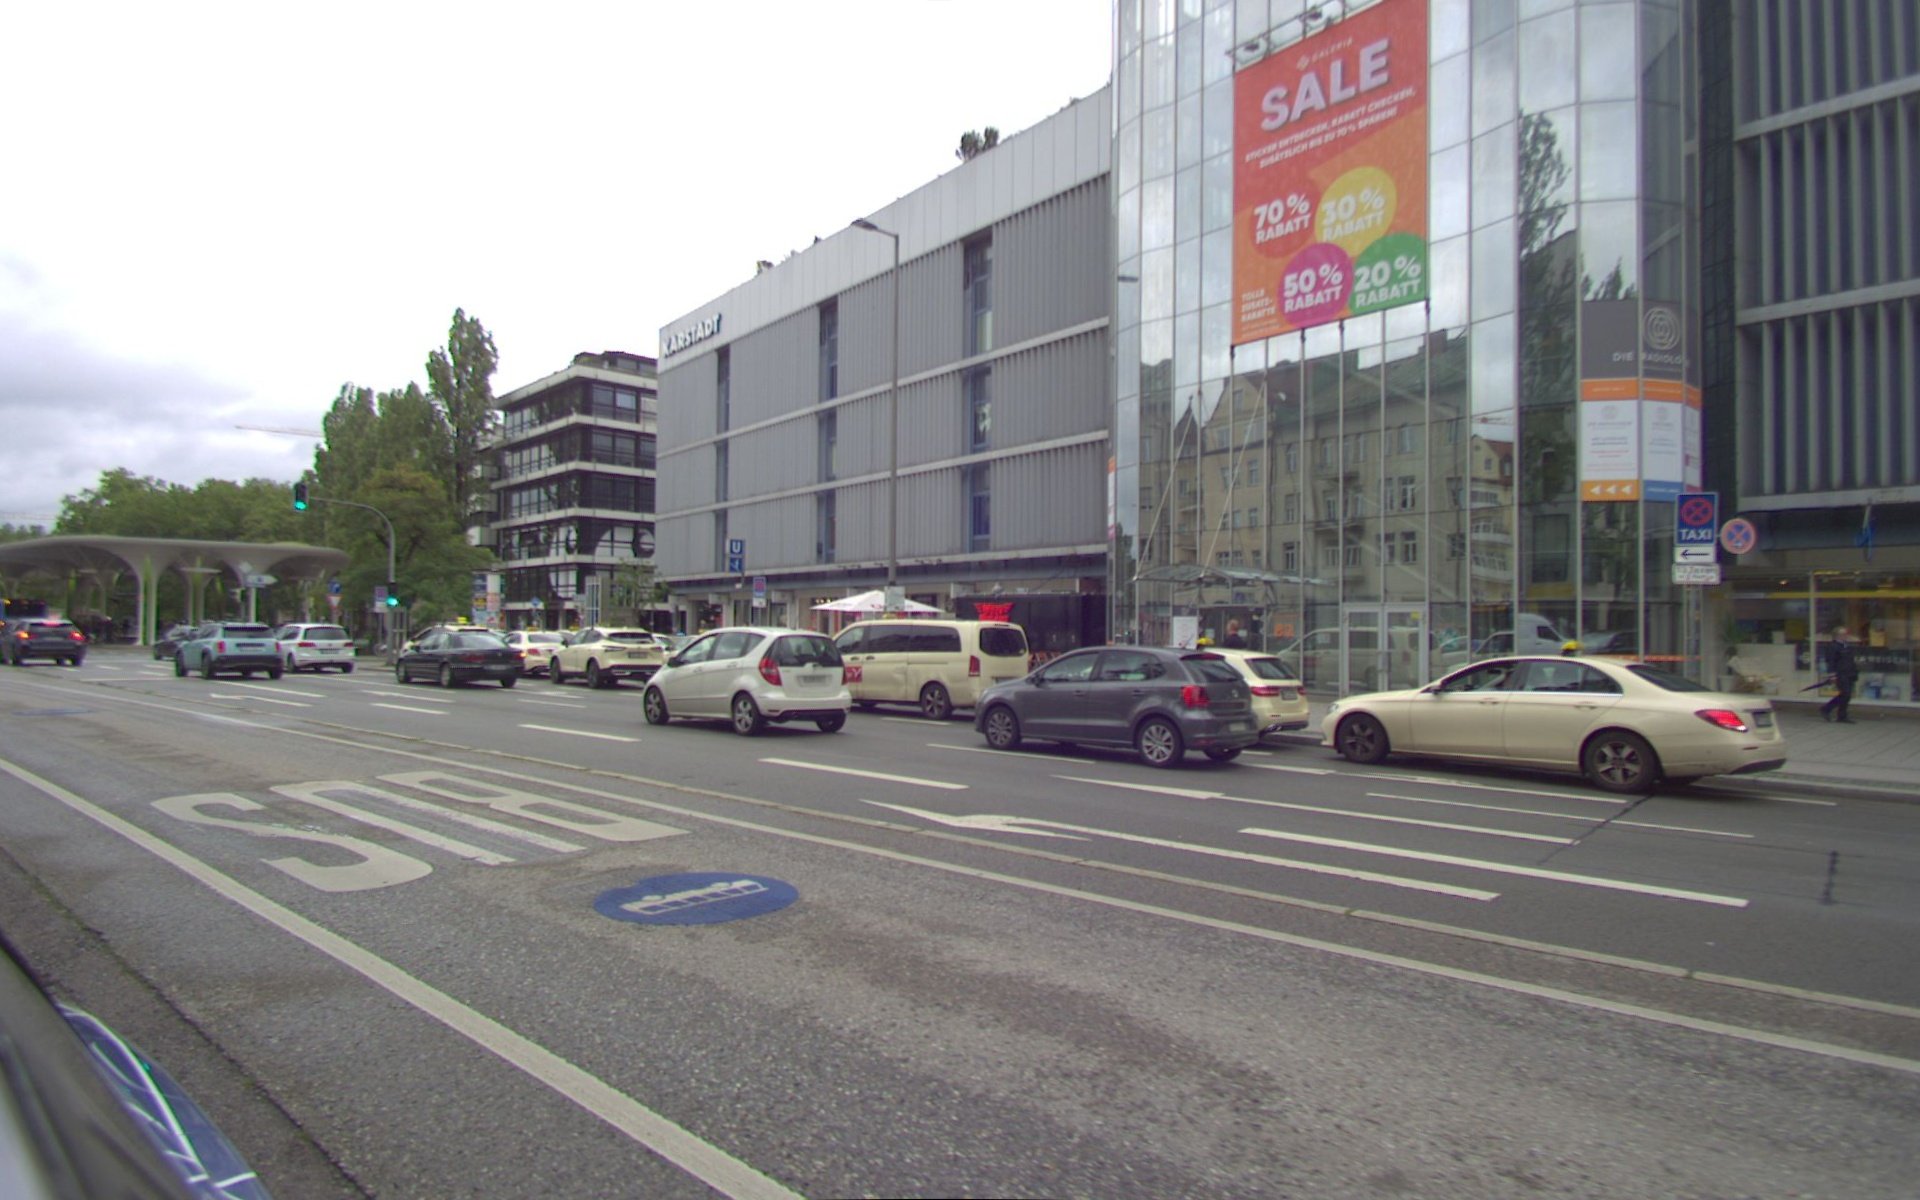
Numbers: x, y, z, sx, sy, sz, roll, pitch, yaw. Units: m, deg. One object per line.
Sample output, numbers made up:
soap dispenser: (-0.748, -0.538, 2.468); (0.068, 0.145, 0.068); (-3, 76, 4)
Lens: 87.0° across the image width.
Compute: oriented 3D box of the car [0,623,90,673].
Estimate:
car: (-32.133, 1.671, 35.246); (4.408, 1.633, 1.974); (-1, -4, 39)

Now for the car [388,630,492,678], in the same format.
car: (-19.016, 1.940, 36.951); (4.469, 1.624, 1.572); (-1, -3, 37)

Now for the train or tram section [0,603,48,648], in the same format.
train or tram section: (-67.838, 1.841, 72.165); (7.395, 3.024, 2.807); (-1, -3, 37)

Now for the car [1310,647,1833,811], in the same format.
car: (6.908, 1.359, 12.045); (1.833, 1.480, 4.992); (5, -4, -38)

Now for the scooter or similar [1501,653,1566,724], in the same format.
scooter or similar: (10.287, 1.578, 18.155); (0.994, 1.233, 0.252); (-1, -3, 31)

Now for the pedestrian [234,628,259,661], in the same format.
pedestrian: (-33.823, 2.094, 47.973); (0.753, 1.563, 0.637); (0, -1, 12)

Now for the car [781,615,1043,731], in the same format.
car: (-1.080, 1.360, 20.275); (5.318, 2.029, 1.973); (-1, -3, 40)

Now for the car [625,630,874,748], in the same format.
car: (-3.412, 1.299, 16.030); (4.001, 1.602, 1.931); (-1, -3, 44)

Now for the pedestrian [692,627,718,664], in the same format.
pedestrian: (-10.918, 1.941, 43.361); (0.722, 1.557, 0.900); (2, -3, -40)

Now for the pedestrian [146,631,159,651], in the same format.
pedestrian: (-55.966, 2.855, 70.142); (0.591, 1.348, 0.543); (-1, -3, 37)

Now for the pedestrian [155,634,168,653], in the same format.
pedestrian: (-55.765, 3.033, 70.693); (0.591, 1.348, 0.543); (-1, -3, 37)

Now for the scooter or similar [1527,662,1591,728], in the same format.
scooter or similar: (11.148, 1.754, 18.856); (0.991, 1.182, 0.253); (0, -2, 24)

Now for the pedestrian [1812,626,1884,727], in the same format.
pedestrian: (16.954, 1.438, 19.334); (0.851, 1.849, 0.906); (3, -3, -41)

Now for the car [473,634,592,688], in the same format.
car: (-13.602, 1.880, 32.054); (1.923, 1.552, 4.852); (2, -3, -43)

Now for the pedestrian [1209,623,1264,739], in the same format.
pedestrian: (4.680, 1.338, 17.092); (0.783, 1.881, 0.840); (0, -3, 23)

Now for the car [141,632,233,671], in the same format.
car: (-32.907, 2.174, 43.036); (4.941, 1.558, 1.940); (-1, -3, 38)

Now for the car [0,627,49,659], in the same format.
car: (-54.029, 2.436, 57.908); (4.591, 1.791, 1.975); (-1, -3, 37)

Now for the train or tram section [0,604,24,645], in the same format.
train or tram section: (-73.736, 1.884, 76.672); (7.395, 3.024, 2.807); (-1, -3, 37)

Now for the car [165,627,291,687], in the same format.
car: (-20.381, 1.568, 28.133); (3.996, 1.557, 1.799); (-1, -5, 39)

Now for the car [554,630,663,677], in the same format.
car: (-12.649, 1.881, 36.373); (3.996, 1.579, 1.887); (-1, -3, 39)

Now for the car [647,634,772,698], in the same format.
car: (-7.067, 1.799, 28.329); (1.750, 1.628, 4.006); (3, -3, -41)

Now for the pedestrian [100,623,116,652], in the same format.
pedestrian: (-55.847, 2.452, 66.314); (0.656, 1.865, 0.790); (2, -3, -33)

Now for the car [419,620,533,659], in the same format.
car: (-19.707, 1.596, 41.187); (4.271, 1.522, 1.845); (-1, -2, 23)

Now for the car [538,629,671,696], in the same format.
car: (-9.826, 1.675, 27.792); (1.862, 1.711, 4.388); (4, -4, -42)

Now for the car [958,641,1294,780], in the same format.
car: (2.026, 1.296, 13.060); (4.000, 1.477, 1.764); (-2, -3, 43)

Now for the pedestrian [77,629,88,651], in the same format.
pedestrian: (-59.395, 2.715, 68.486); (0.419, 1.514, 0.491); (2, -3, -27)

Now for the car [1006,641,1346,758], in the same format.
car: (3.332, 1.474, 16.359); (5.083, 1.564, 1.957); (-1, -3, 41)

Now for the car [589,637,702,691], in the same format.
car: (-9.952, 1.962, 31.889); (1.732, 1.548, 4.002); (3, -3, -44)

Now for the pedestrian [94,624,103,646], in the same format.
pedestrian: (-58.643, 2.389, 68.901); (0.316, 1.514, 0.331); (-1, -3, 28)

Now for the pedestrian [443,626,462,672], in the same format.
pedestrian: (-19.639, 1.903, 39.147); (0.428, 1.742, 0.519); (-1, -1, 37)

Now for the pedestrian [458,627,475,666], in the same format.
pedestrian: (-22.917, 2.162, 46.989); (0.510, 1.792, 0.555); (-1, -1, 40)

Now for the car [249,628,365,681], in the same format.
car: (-21.272, 1.722, 32.908); (4.286, 1.612, 1.973); (-1, -3, 40)

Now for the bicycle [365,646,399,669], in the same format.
bicycle: (-27.093, 2.687, 47.445); (0.419, 1.024, 1.283); (-1, -3, 35)

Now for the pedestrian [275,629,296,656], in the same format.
pedestrian: (-44.529, 2.802, 66.843); (0.979, 1.791, 0.850); (-1, -3, 38)

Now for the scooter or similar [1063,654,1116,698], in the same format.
scooter or similar: (3.463, 2.026, 27.127); (1.370, 1.148, 0.365); (0, -3, 19)

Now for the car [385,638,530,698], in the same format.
car: (-13.172, 1.705, 26.400); (4.685, 1.420, 1.711); (-2, -3, 41)
